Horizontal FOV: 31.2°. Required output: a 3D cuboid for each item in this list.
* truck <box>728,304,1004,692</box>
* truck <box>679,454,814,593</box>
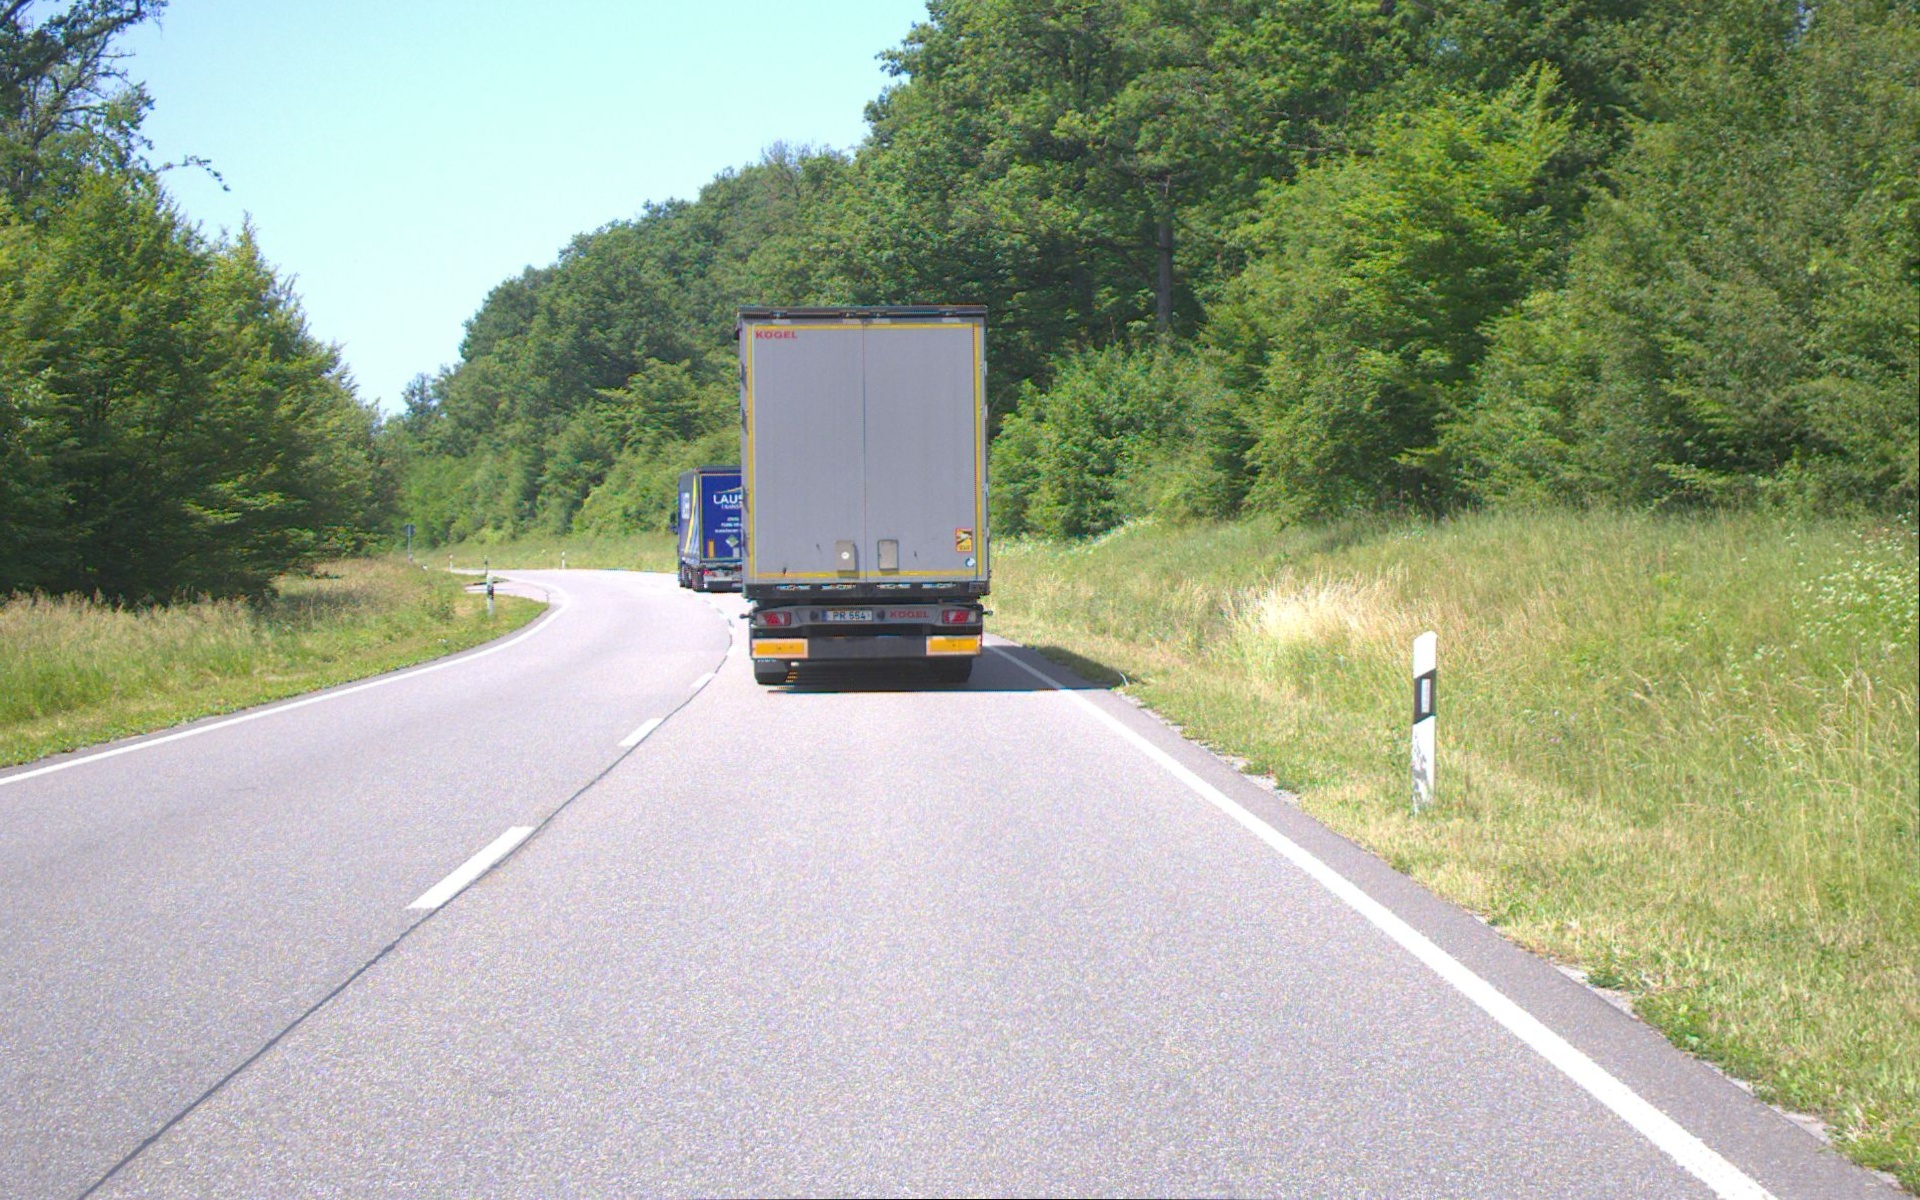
[{"bbox_3d":[-1.131,-1.150,41.234,2.761,3.933,12.199,-1,1,-2],"label":"truck"},{"bbox_3d":[-7.310,-2.523,115.425,3.792,4.358,14.923,0,1,-6],"label":"truck"}]
